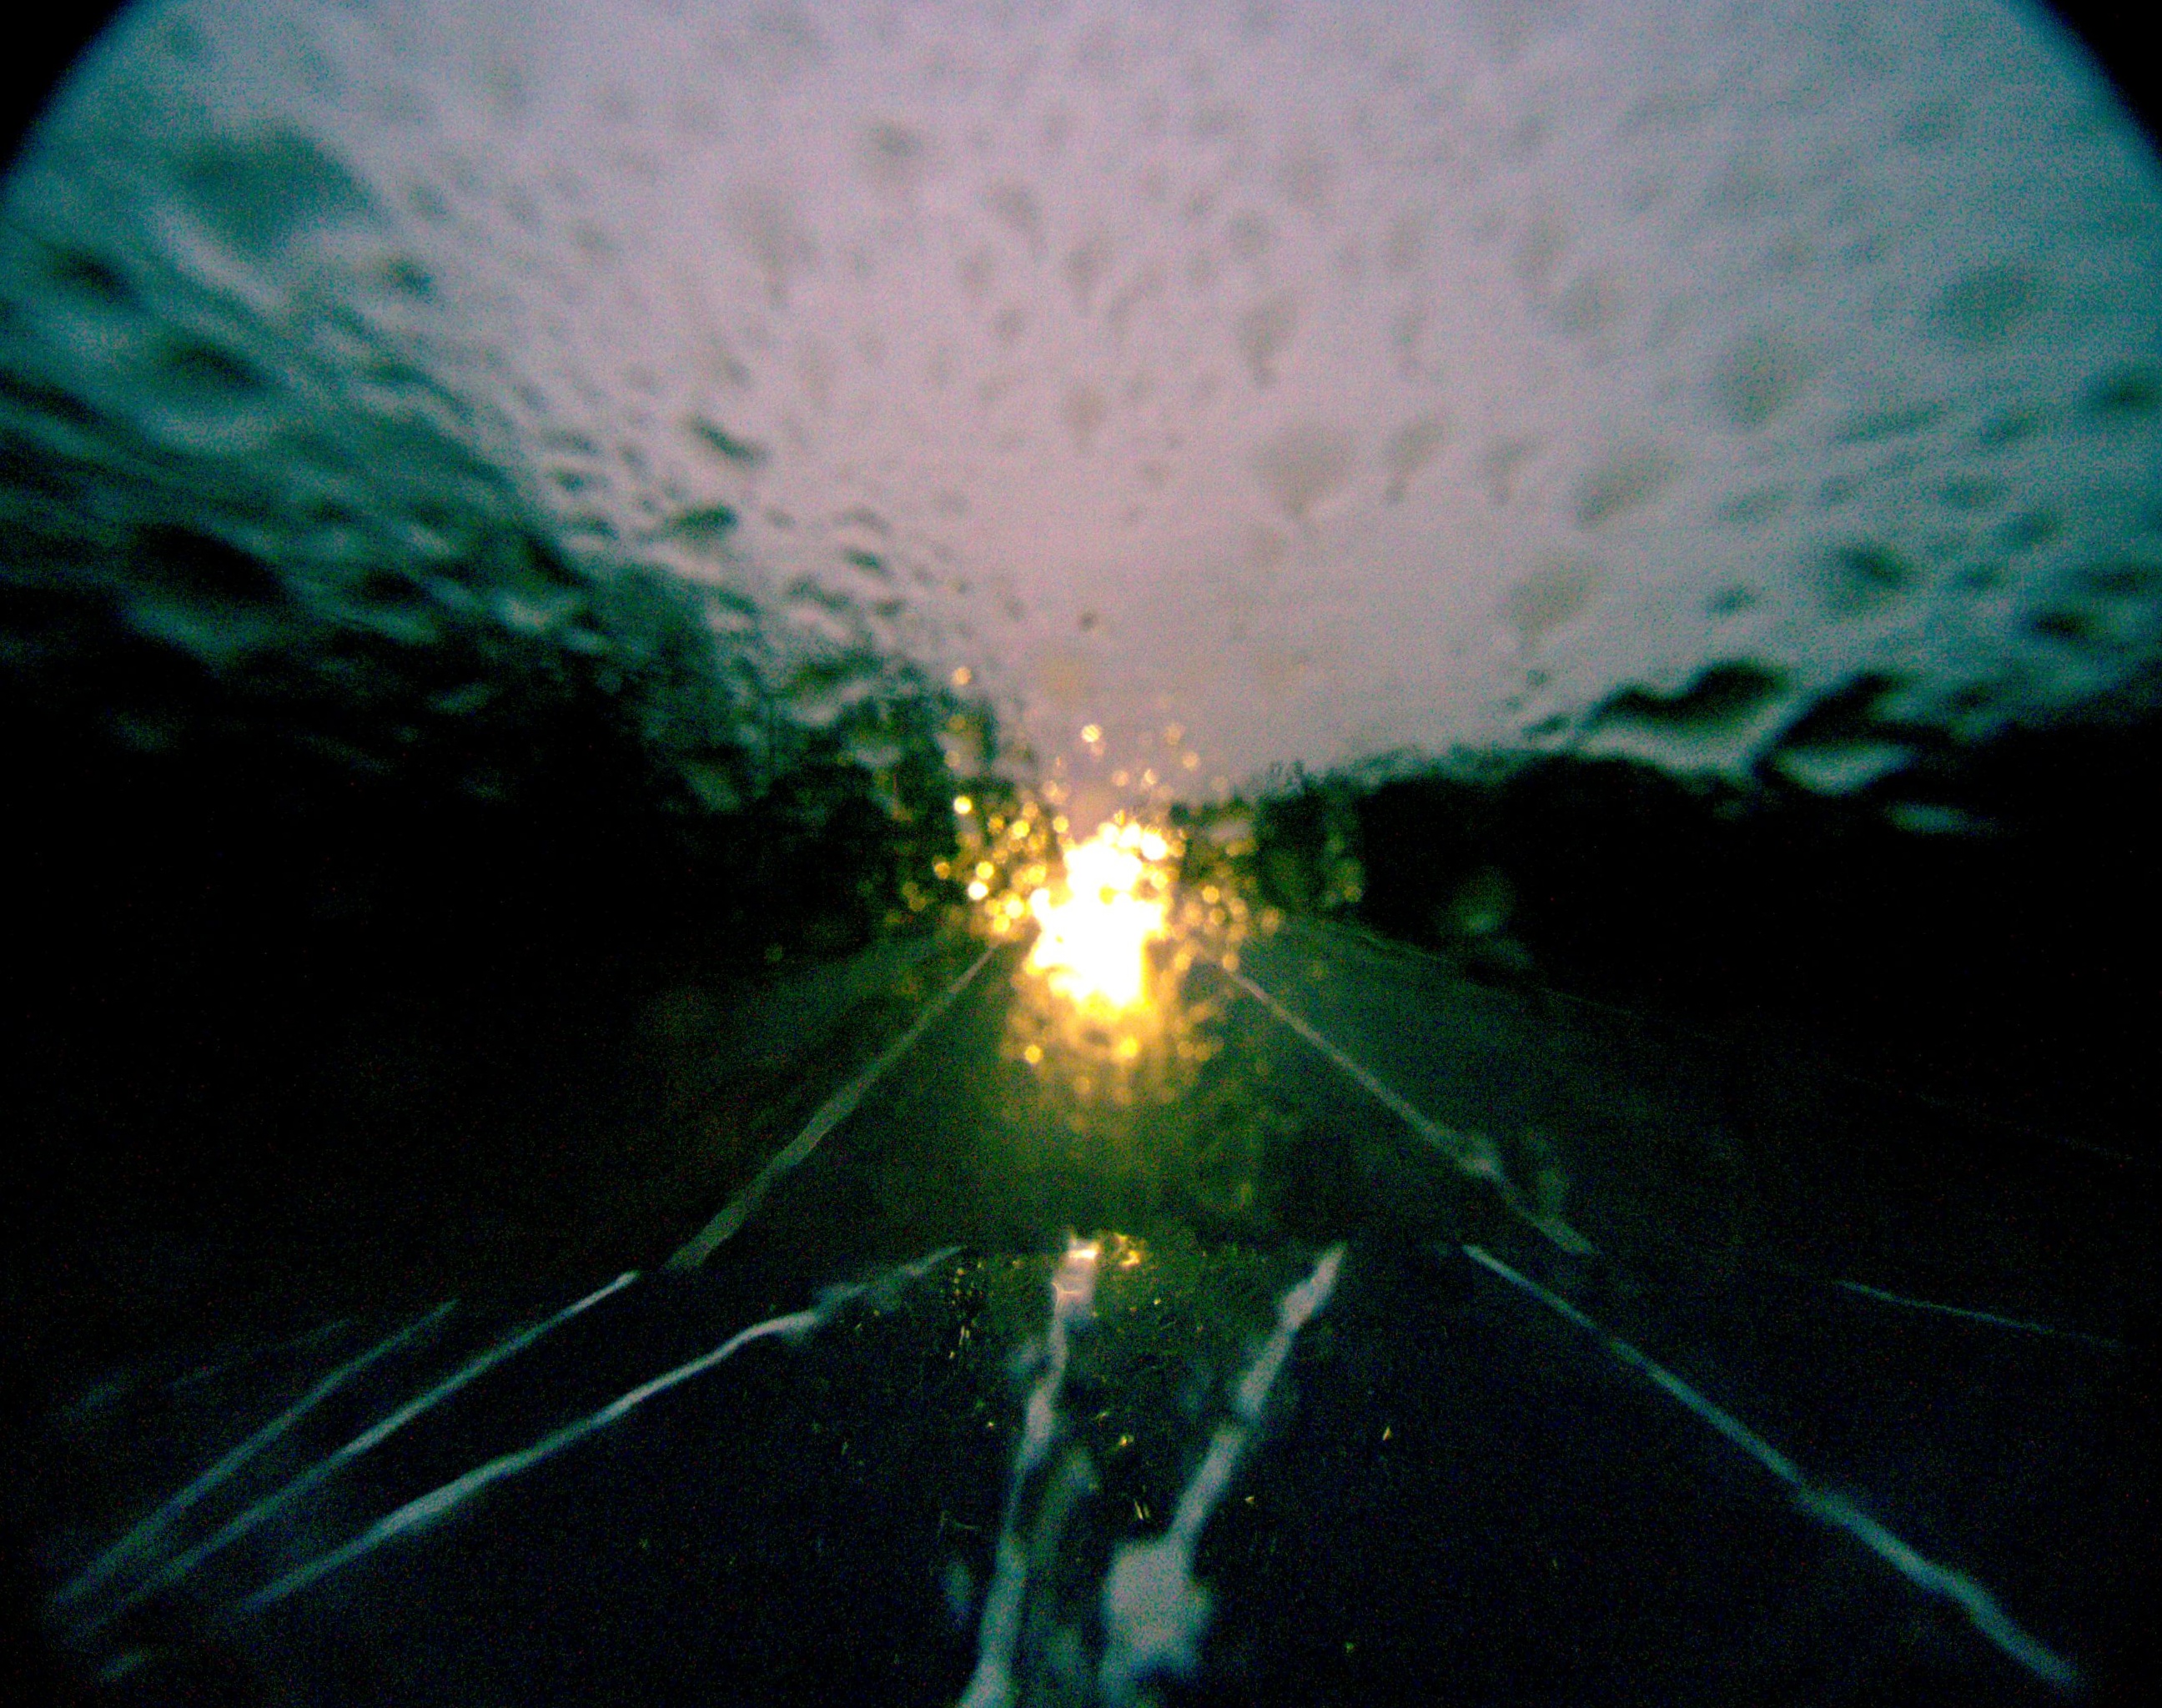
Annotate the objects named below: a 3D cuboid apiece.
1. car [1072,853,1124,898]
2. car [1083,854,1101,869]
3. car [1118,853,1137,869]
[{"bbox_3d":[0.643,0.789,29.675,1.860,1.604,4.000,-1,0,0],"label":"car"},{"bbox_3d":[1.317,0.874,90.740,1.998,1.612,4.000,-2,1,1],"label":"car"},{"bbox_3d":[4.530,0.647,74.498,1.636,1.449,3.982,1,0,0],"label":"car"}]
